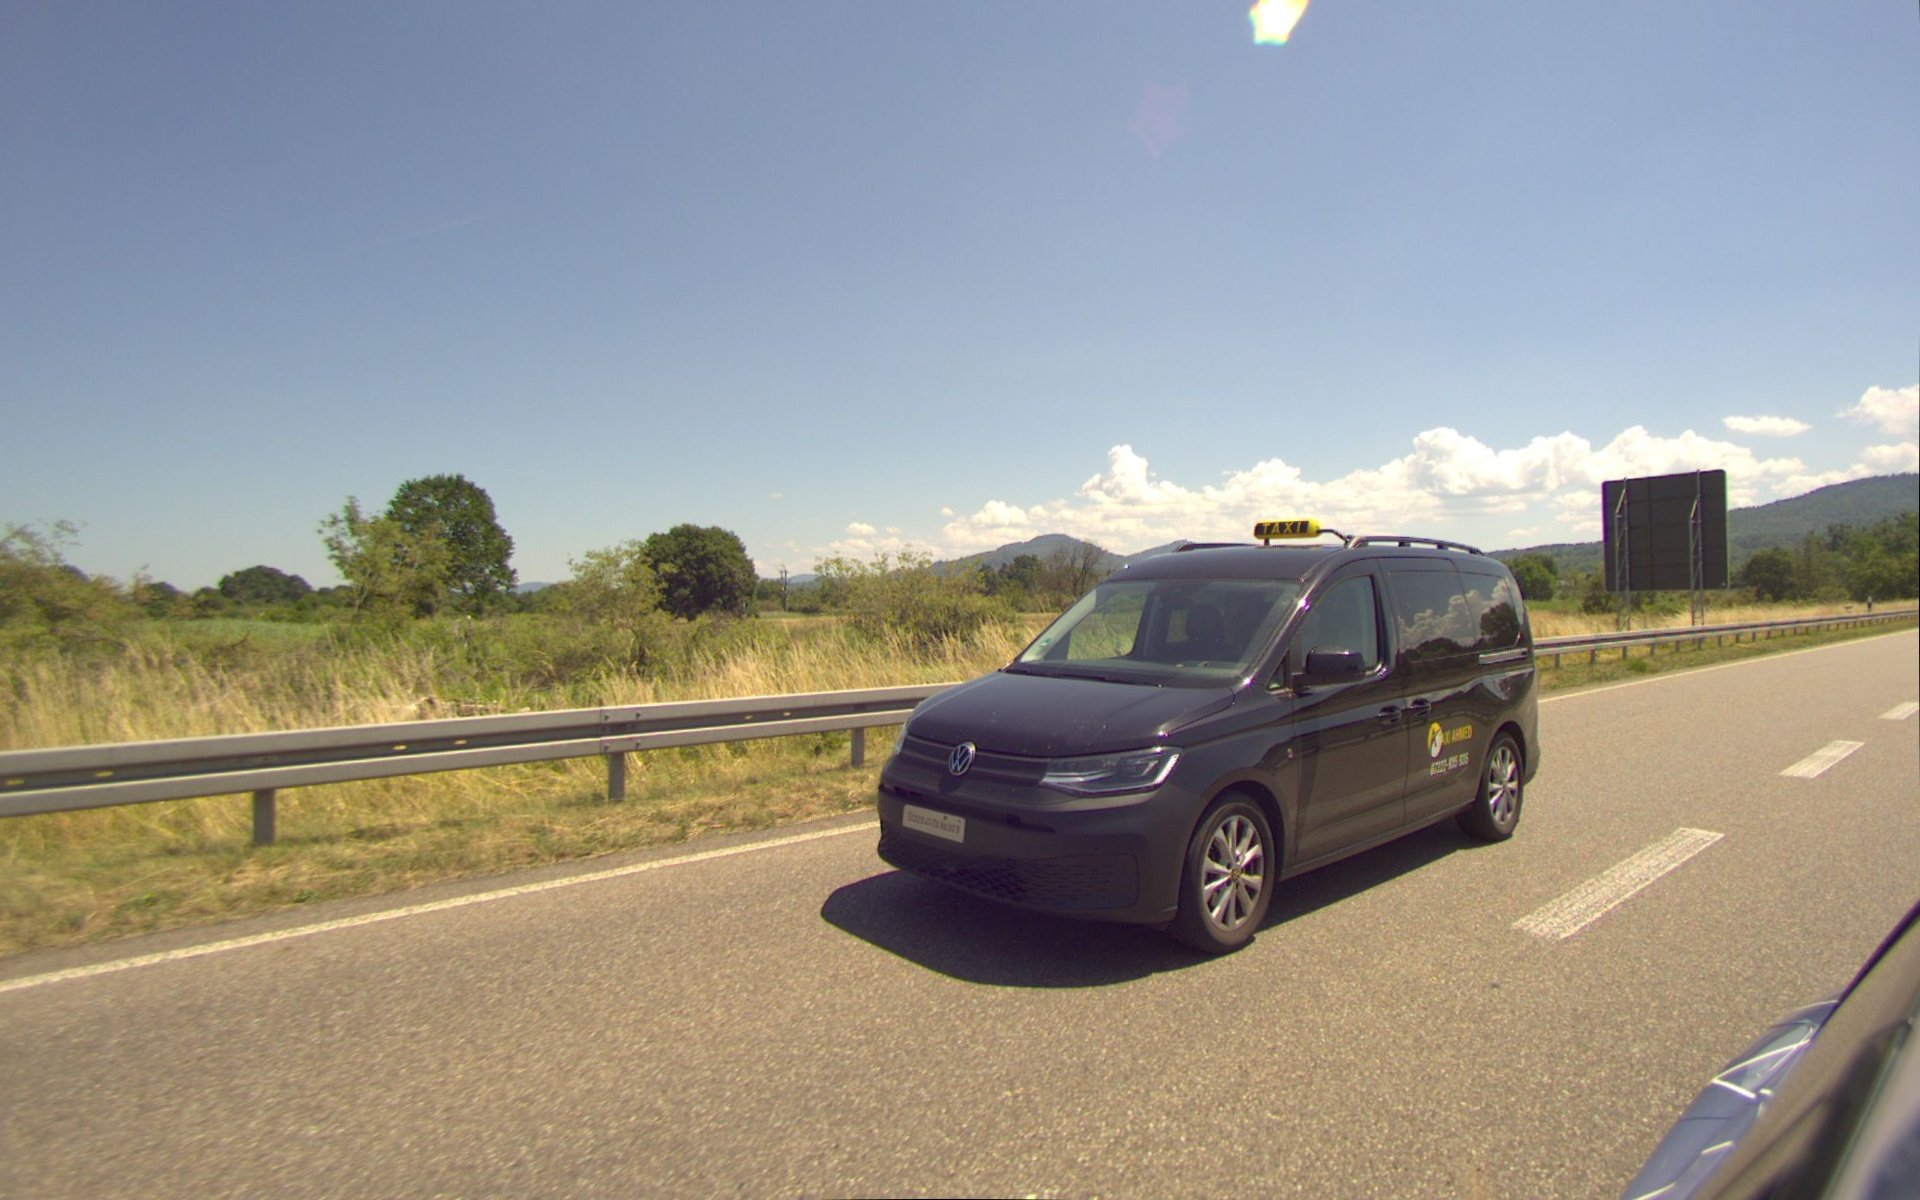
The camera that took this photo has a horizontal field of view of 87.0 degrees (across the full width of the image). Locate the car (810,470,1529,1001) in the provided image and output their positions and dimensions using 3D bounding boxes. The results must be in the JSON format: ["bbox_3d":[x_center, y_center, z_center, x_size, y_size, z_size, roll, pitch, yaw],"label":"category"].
[{"bbox_3d":[1.407,0.452,5.575,4.141,1.840,1.782,-1,0,-42],"label":"car"}]
